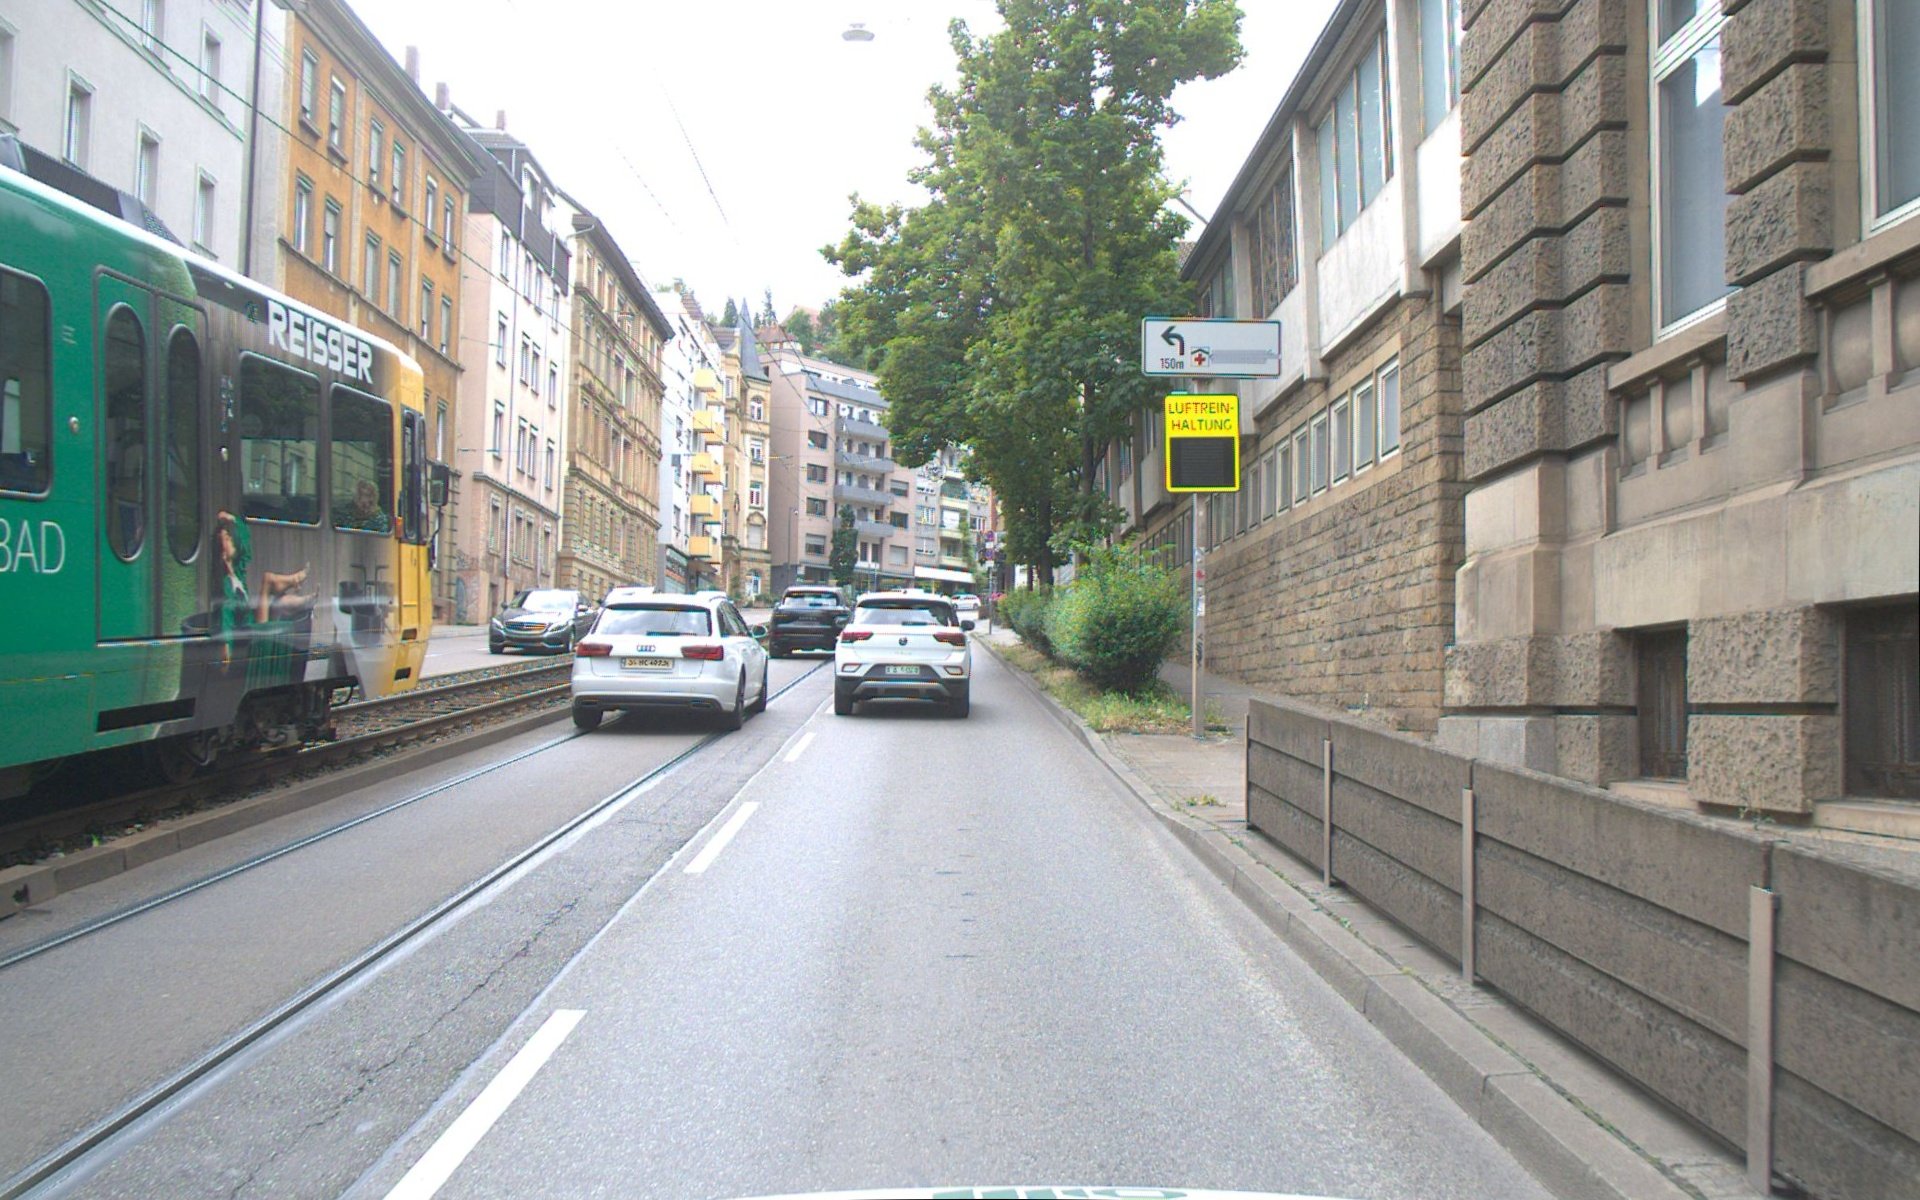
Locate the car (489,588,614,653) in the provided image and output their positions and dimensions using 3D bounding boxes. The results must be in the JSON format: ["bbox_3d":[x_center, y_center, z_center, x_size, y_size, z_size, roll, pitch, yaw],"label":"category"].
[{"bbox_3d":[-9.374,0.431,38.284,1.775,1.384,4.763,1,0,-1],"label":"car"}]

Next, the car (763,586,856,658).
[{"bbox_3d":[-3.528,0.484,39.495,1.997,1.599,4.356,1,0,-3],"label":"car"}]

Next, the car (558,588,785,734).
[{"bbox_3d":[-3.220,0.628,19.369,1.840,1.480,4.617,1,0,0],"label":"car"}]

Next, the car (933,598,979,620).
[{"bbox_3d":[-0.327,0.797,149.410,1.872,1.956,4.416,1,0,37],"label":"car"}]

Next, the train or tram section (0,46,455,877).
[{"bbox_3d":[-5.759,-0.647,5.209,2.818,3.790,18.752,2,0,-1],"label":"train or tram section"}]

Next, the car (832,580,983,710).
[{"bbox_3d":[-0.762,0.580,22.392,1.841,1.582,3.997,1,-1,-3],"label":"car"}]

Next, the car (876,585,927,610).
[{"bbox_3d":[-5.080,-0.214,143.933,1.961,2.071,4.682,1,0,37],"label":"car"}]

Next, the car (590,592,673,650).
[{"bbox_3d":[-9.684,0.579,49.008,1.708,1.624,3.968,1,0,-1],"label":"car"}]

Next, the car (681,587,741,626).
[{"bbox_3d":[-10.139,0.244,67.578,1.806,1.480,4.660,1,0,-1],"label":"car"}]
